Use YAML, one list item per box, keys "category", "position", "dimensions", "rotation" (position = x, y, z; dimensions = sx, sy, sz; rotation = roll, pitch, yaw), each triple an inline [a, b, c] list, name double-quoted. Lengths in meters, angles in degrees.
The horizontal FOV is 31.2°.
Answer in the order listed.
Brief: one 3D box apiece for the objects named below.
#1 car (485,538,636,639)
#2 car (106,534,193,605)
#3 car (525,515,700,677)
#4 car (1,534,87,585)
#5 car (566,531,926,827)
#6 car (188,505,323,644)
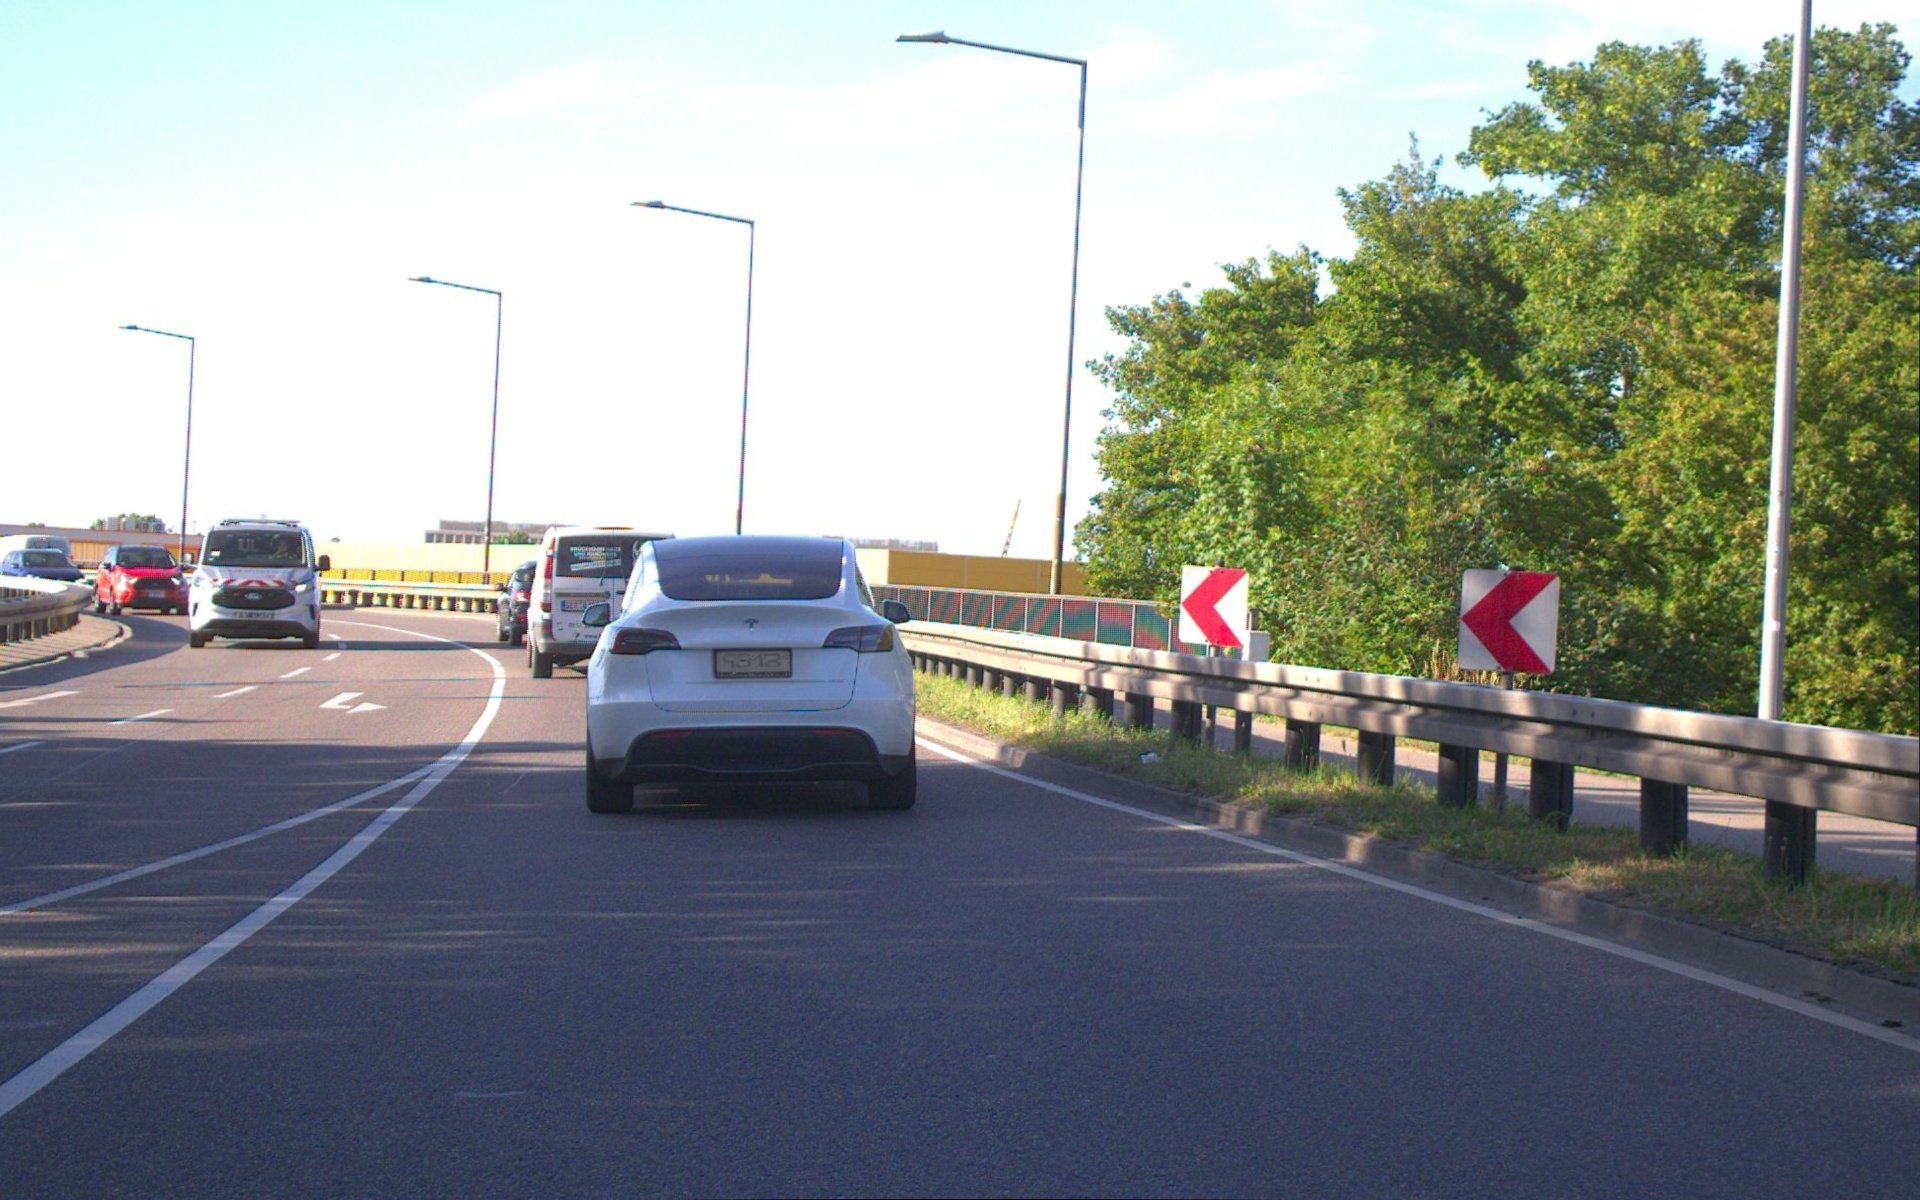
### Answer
- category: "car"
  position: [-6.754, -0.223, 57.833]
  dimensions: [1.968, 1.632, 4.001]
  rotation: [0, 1, -15]
- category: "car"
  position: [-19.348, -0.739, 82.000]
  dimensions: [1.803, 1.632, 4.001]
  rotation: [1, 1, -16]
- category: "car"
  position: [-4.452, -0.081, 43.545]
  dimensions: [2.005, 1.934, 4.468]
  rotation: [0, 1, -8]
- category: "car"
  position: [-28.921, -1.299, 108.452]
  dimensions: [1.835, 1.550, 3.894]
  rotation: [1, 1, -27]
- category: "car"
  position: [-1.345, 0.403, 21.069]
  dimensions: [1.985, 1.632, 4.063]
  rotation: [0, 1, -5]
- category: "car"
  position: [-11.239, -0.435, 55.102]
  dimensions: [1.948, 2.105, 5.272]
  rotation: [1, 1, -10]
